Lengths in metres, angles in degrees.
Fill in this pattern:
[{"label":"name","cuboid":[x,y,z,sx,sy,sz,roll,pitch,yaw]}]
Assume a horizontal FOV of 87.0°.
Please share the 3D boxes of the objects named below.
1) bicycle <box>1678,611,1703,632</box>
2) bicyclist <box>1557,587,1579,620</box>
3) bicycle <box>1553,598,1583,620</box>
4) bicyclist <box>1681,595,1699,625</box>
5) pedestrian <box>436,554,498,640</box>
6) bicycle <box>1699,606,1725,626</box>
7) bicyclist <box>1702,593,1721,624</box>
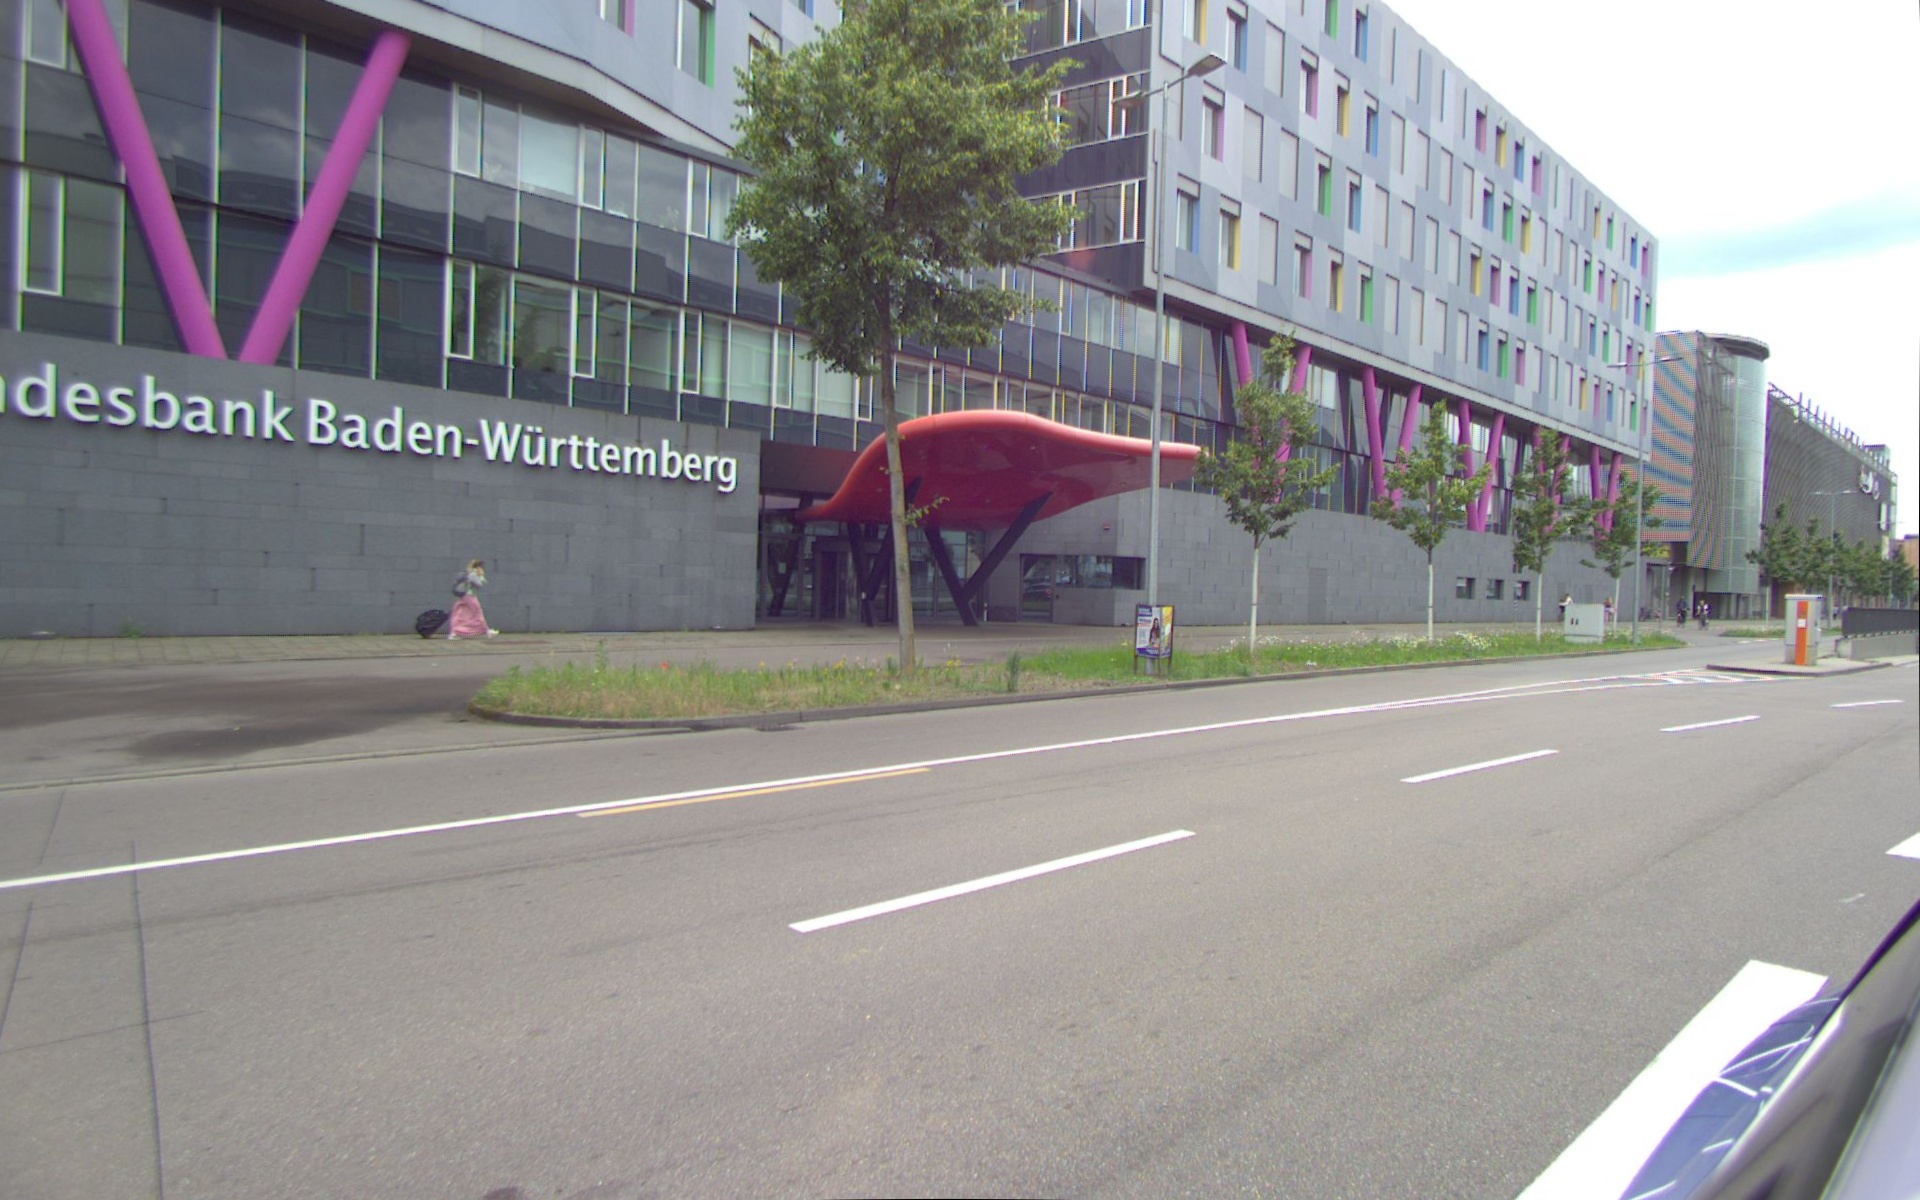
[{"label":"bicycle","cuboid":[46.530,1.389,64.463,2.303,1.173,0.800,6,-3,-42]},{"label":"bicyclist","cuboid":[34.201,0.184,56.954,0.957,1.809,0.772,1,1,-41]},{"label":"bicycle","cuboid":[34.295,0.514,57.061,2.182,1.209,0.784,1,1,-42]},{"label":"bicyclist","cuboid":[46.472,0.627,64.408,0.692,1.826,0.783,6,-4,-41]},{"label":"pedestrian","cuboid":[-9.530,-0.065,19.562,0.898,1.602,0.786,1,1,-40]},{"label":"bicycle","cuboid":[45.674,0.965,61.486,2.304,1.173,0.800,2,-1,-42]},{"label":"bicyclist","cuboid":[45.638,0.524,61.442,0.692,1.825,0.783,2,-1,-41]}]
